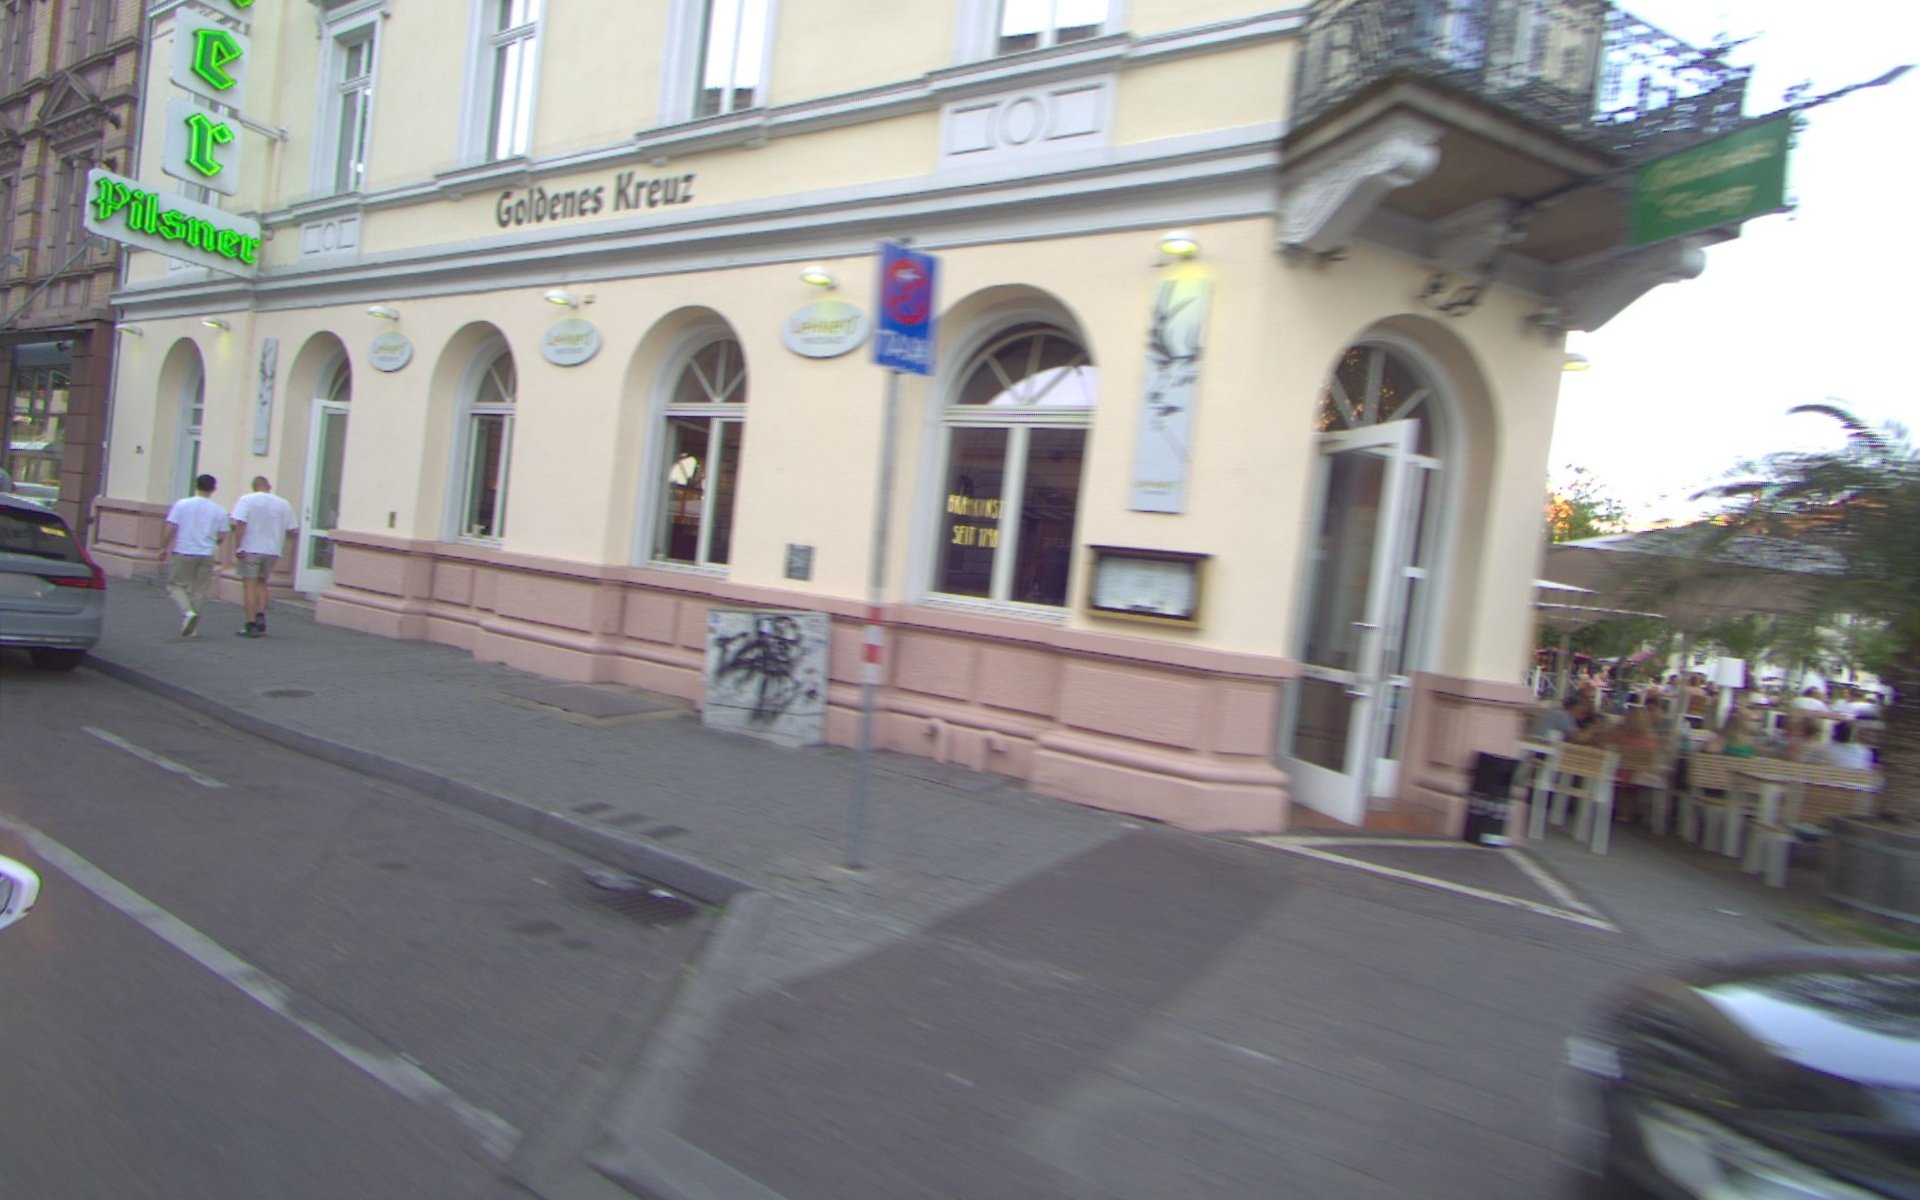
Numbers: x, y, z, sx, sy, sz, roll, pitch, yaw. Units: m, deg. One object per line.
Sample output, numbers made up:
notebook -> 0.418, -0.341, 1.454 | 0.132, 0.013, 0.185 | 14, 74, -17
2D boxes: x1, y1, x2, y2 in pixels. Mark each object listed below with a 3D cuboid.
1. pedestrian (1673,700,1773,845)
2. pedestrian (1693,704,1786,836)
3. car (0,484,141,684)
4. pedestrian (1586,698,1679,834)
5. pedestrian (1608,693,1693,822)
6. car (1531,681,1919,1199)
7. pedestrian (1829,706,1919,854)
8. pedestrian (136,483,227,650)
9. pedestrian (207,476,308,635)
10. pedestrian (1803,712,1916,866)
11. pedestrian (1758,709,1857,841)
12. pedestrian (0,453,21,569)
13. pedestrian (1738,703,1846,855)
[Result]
pedestrian -> 7.549, 1.691, 9.981 | 0.481, 1.296, 0.595 | 7, 1, 19
pedestrian -> 8.435, 1.820, 10.904 | 0.481, 1.296, 0.595 | 7, 1, 19
car -> -9.291, -0.386, 8.764 | 4.615, 1.493, 1.809 | 8, -1, 31
pedestrian -> 6.766, 1.646, 10.145 | 0.481, 1.232, 0.669 | 7, 1, 19
pedestrian -> 7.630, 1.719, 11.135 | 0.481, 1.296, 0.595 | 7, 1, 19
car -> 3.352, 1.134, 1.264 | 4.472, 1.408, 1.698 | 7, 1, 32
pedestrian -> 9.291, 1.784, 10.063 | 0.625, 1.344, 0.490 | 7, 1, 19
pedestrian -> -8.402, -0.362, 10.865 | 0.477, 1.714, 0.619 | 7, 5, 27
pedestrian -> -7.975, -0.501, 11.426 | 0.542, 1.714, 0.759 | 8, 6, 31
pedestrian -> 8.694, 1.807, 9.749 | 0.481, 1.344, 0.595 | 7, 1, 19
pedestrian -> 9.042, 1.845, 10.754 | 0.481, 1.266, 0.595 | 7, 1, 19
pedestrian -> -15.150, -1.413, 15.774 | 0.652, 1.792, 0.373 | 7, 3, 28
pedestrian -> 8.107, 1.723, 9.828 | 0.481, 1.344, 0.595 | 7, 1, 19
